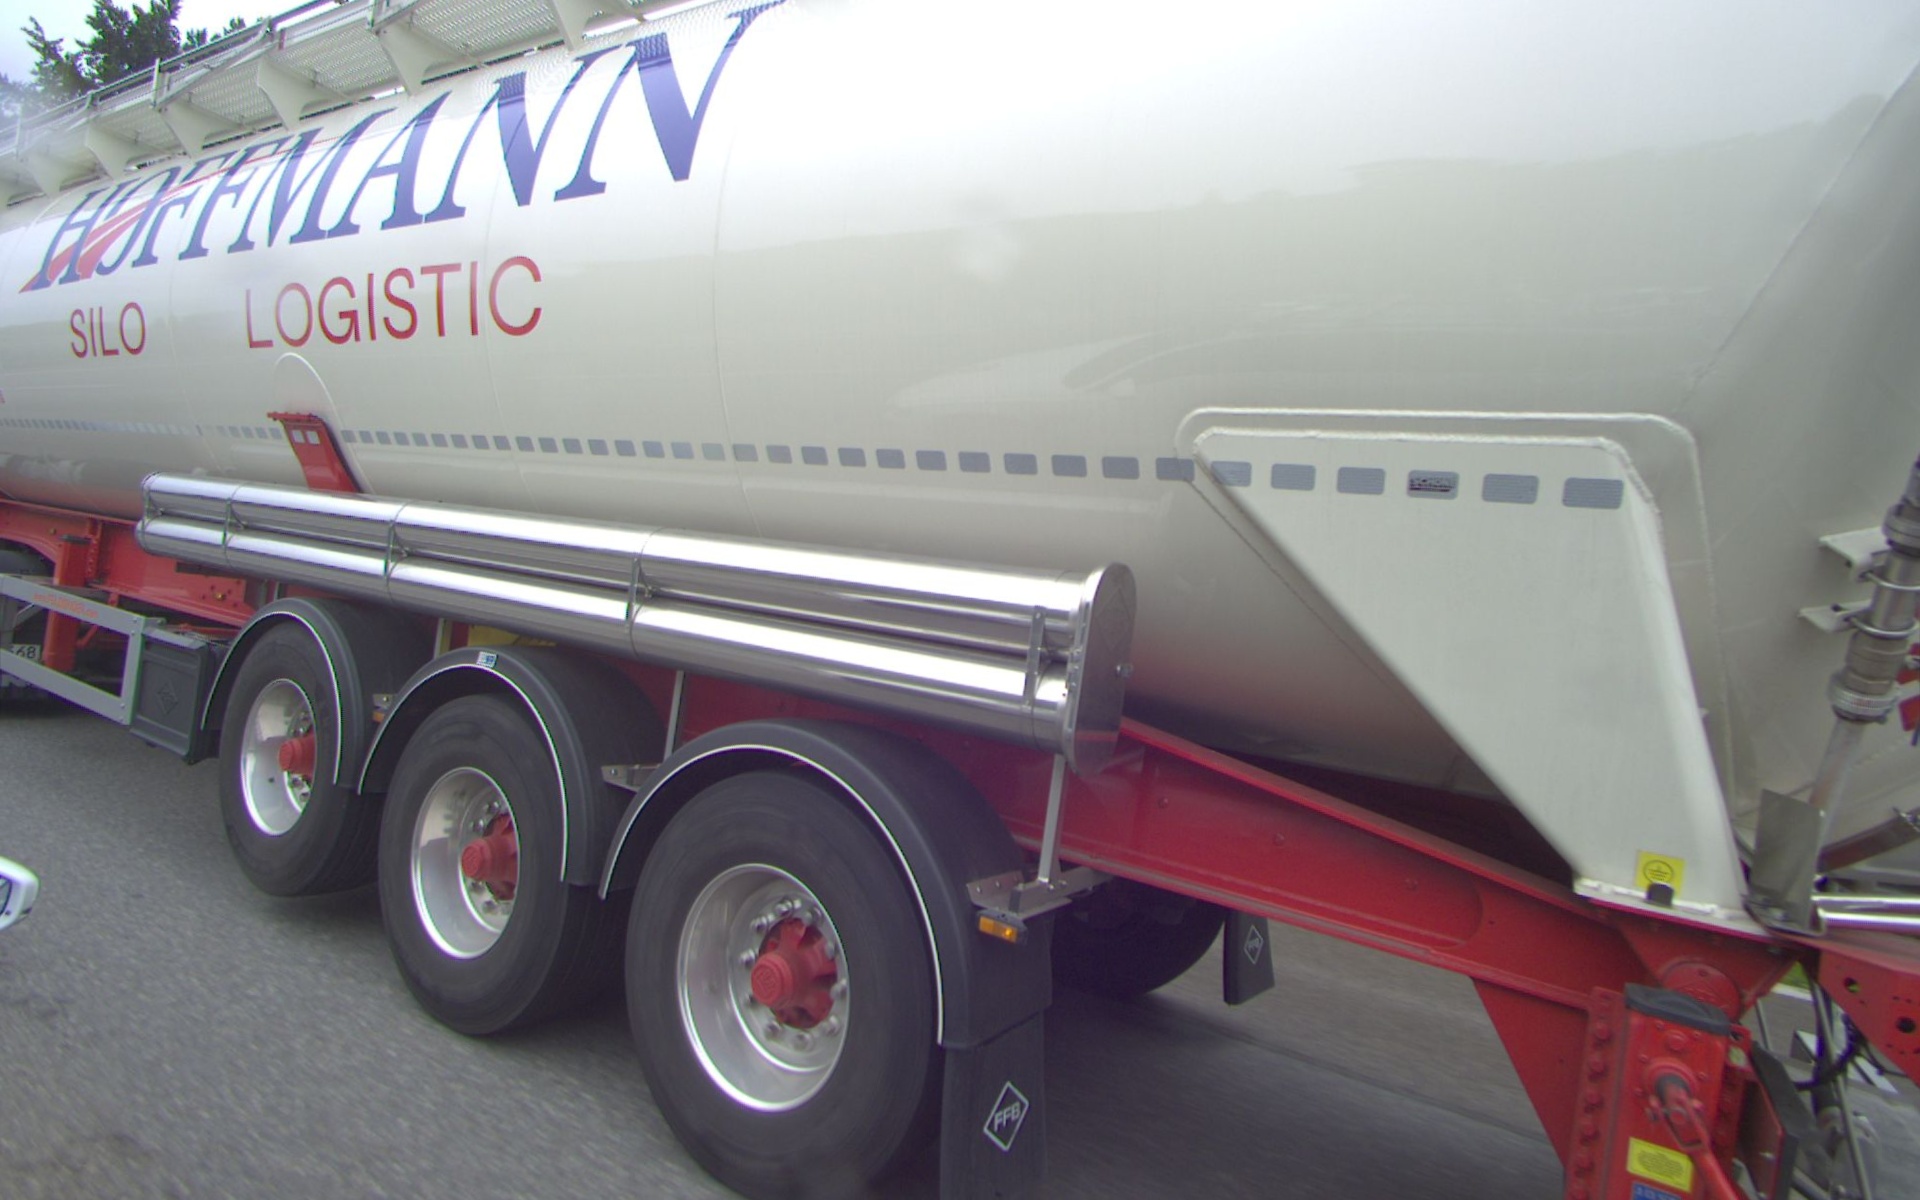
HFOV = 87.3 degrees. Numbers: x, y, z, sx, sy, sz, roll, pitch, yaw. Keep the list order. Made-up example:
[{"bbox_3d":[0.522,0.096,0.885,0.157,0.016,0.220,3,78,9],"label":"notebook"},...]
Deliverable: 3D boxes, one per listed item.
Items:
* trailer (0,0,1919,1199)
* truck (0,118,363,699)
[{"bbox_3d":[-2.967,-0.812,5.620,12.912,3.987,2.672,7,0,32],"label":"trailer"},{"bbox_3d":[-8.877,-1.501,9.438,6.449,3.960,2.698,6,0,32],"label":"truck"}]
